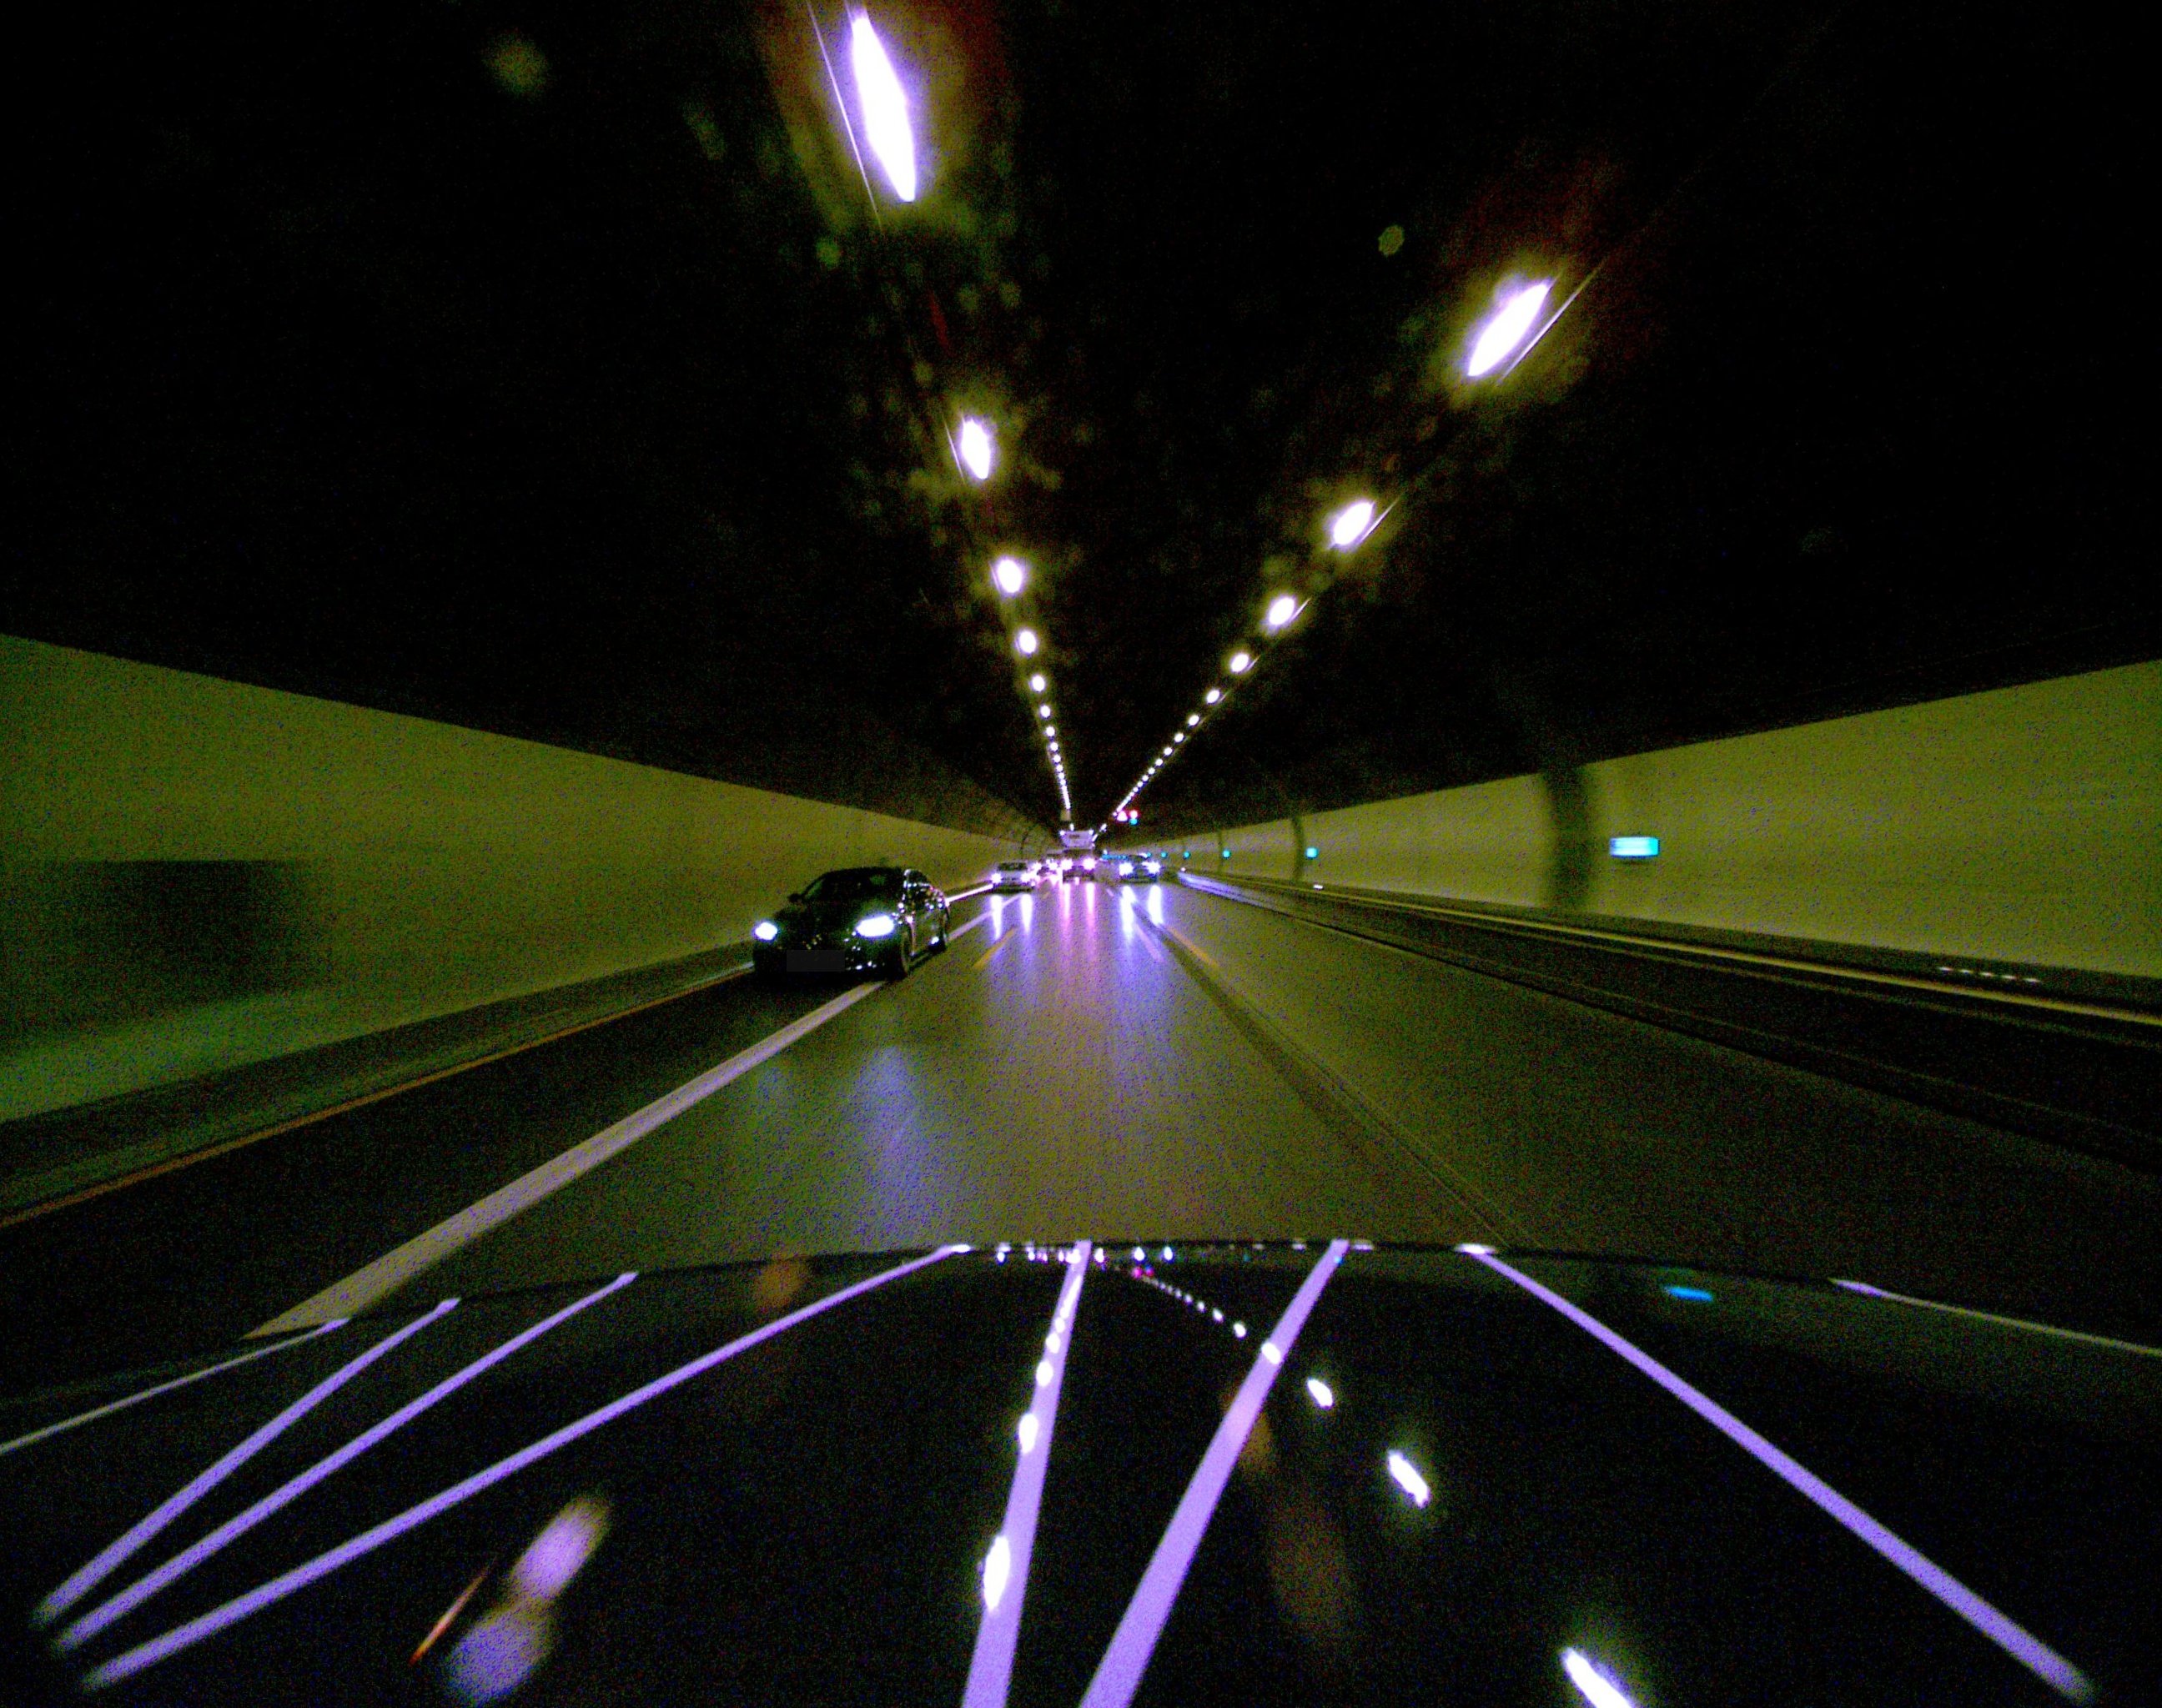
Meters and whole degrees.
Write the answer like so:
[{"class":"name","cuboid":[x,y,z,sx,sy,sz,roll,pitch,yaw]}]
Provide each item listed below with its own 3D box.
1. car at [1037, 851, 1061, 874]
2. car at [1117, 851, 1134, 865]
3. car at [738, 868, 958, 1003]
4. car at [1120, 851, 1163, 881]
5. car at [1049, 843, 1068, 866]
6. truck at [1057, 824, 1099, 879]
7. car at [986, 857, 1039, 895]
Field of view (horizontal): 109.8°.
[{"class":"car","cuboid":[-2.906,0.718,70.077,1.999,2.002,4.853,-1,0,-1]},{"class":"car","cuboid":[5.647,0.484,95.468,1.998,1.531,4.852,-1,1,4]},{"class":"car","cuboid":[-3.142,1.014,11.314,1.825,1.469,4.521,-1,0,0]},{"class":"car","cuboid":[3.326,0.632,42.685,1.998,1.531,4.742,-1,1,0]},{"class":"car","cuboid":[-2.726,0.059,93.864,1.998,2.710,6.273,-1,1,0]},{"class":"truck","cuboid":[-0.167,-0.131,50.315,2.533,3.314,7.715,-1,0,0]},{"class":"car","cuboid":[-3.146,0.974,35.883,1.998,1.531,4.742,-1,1,0]}]
